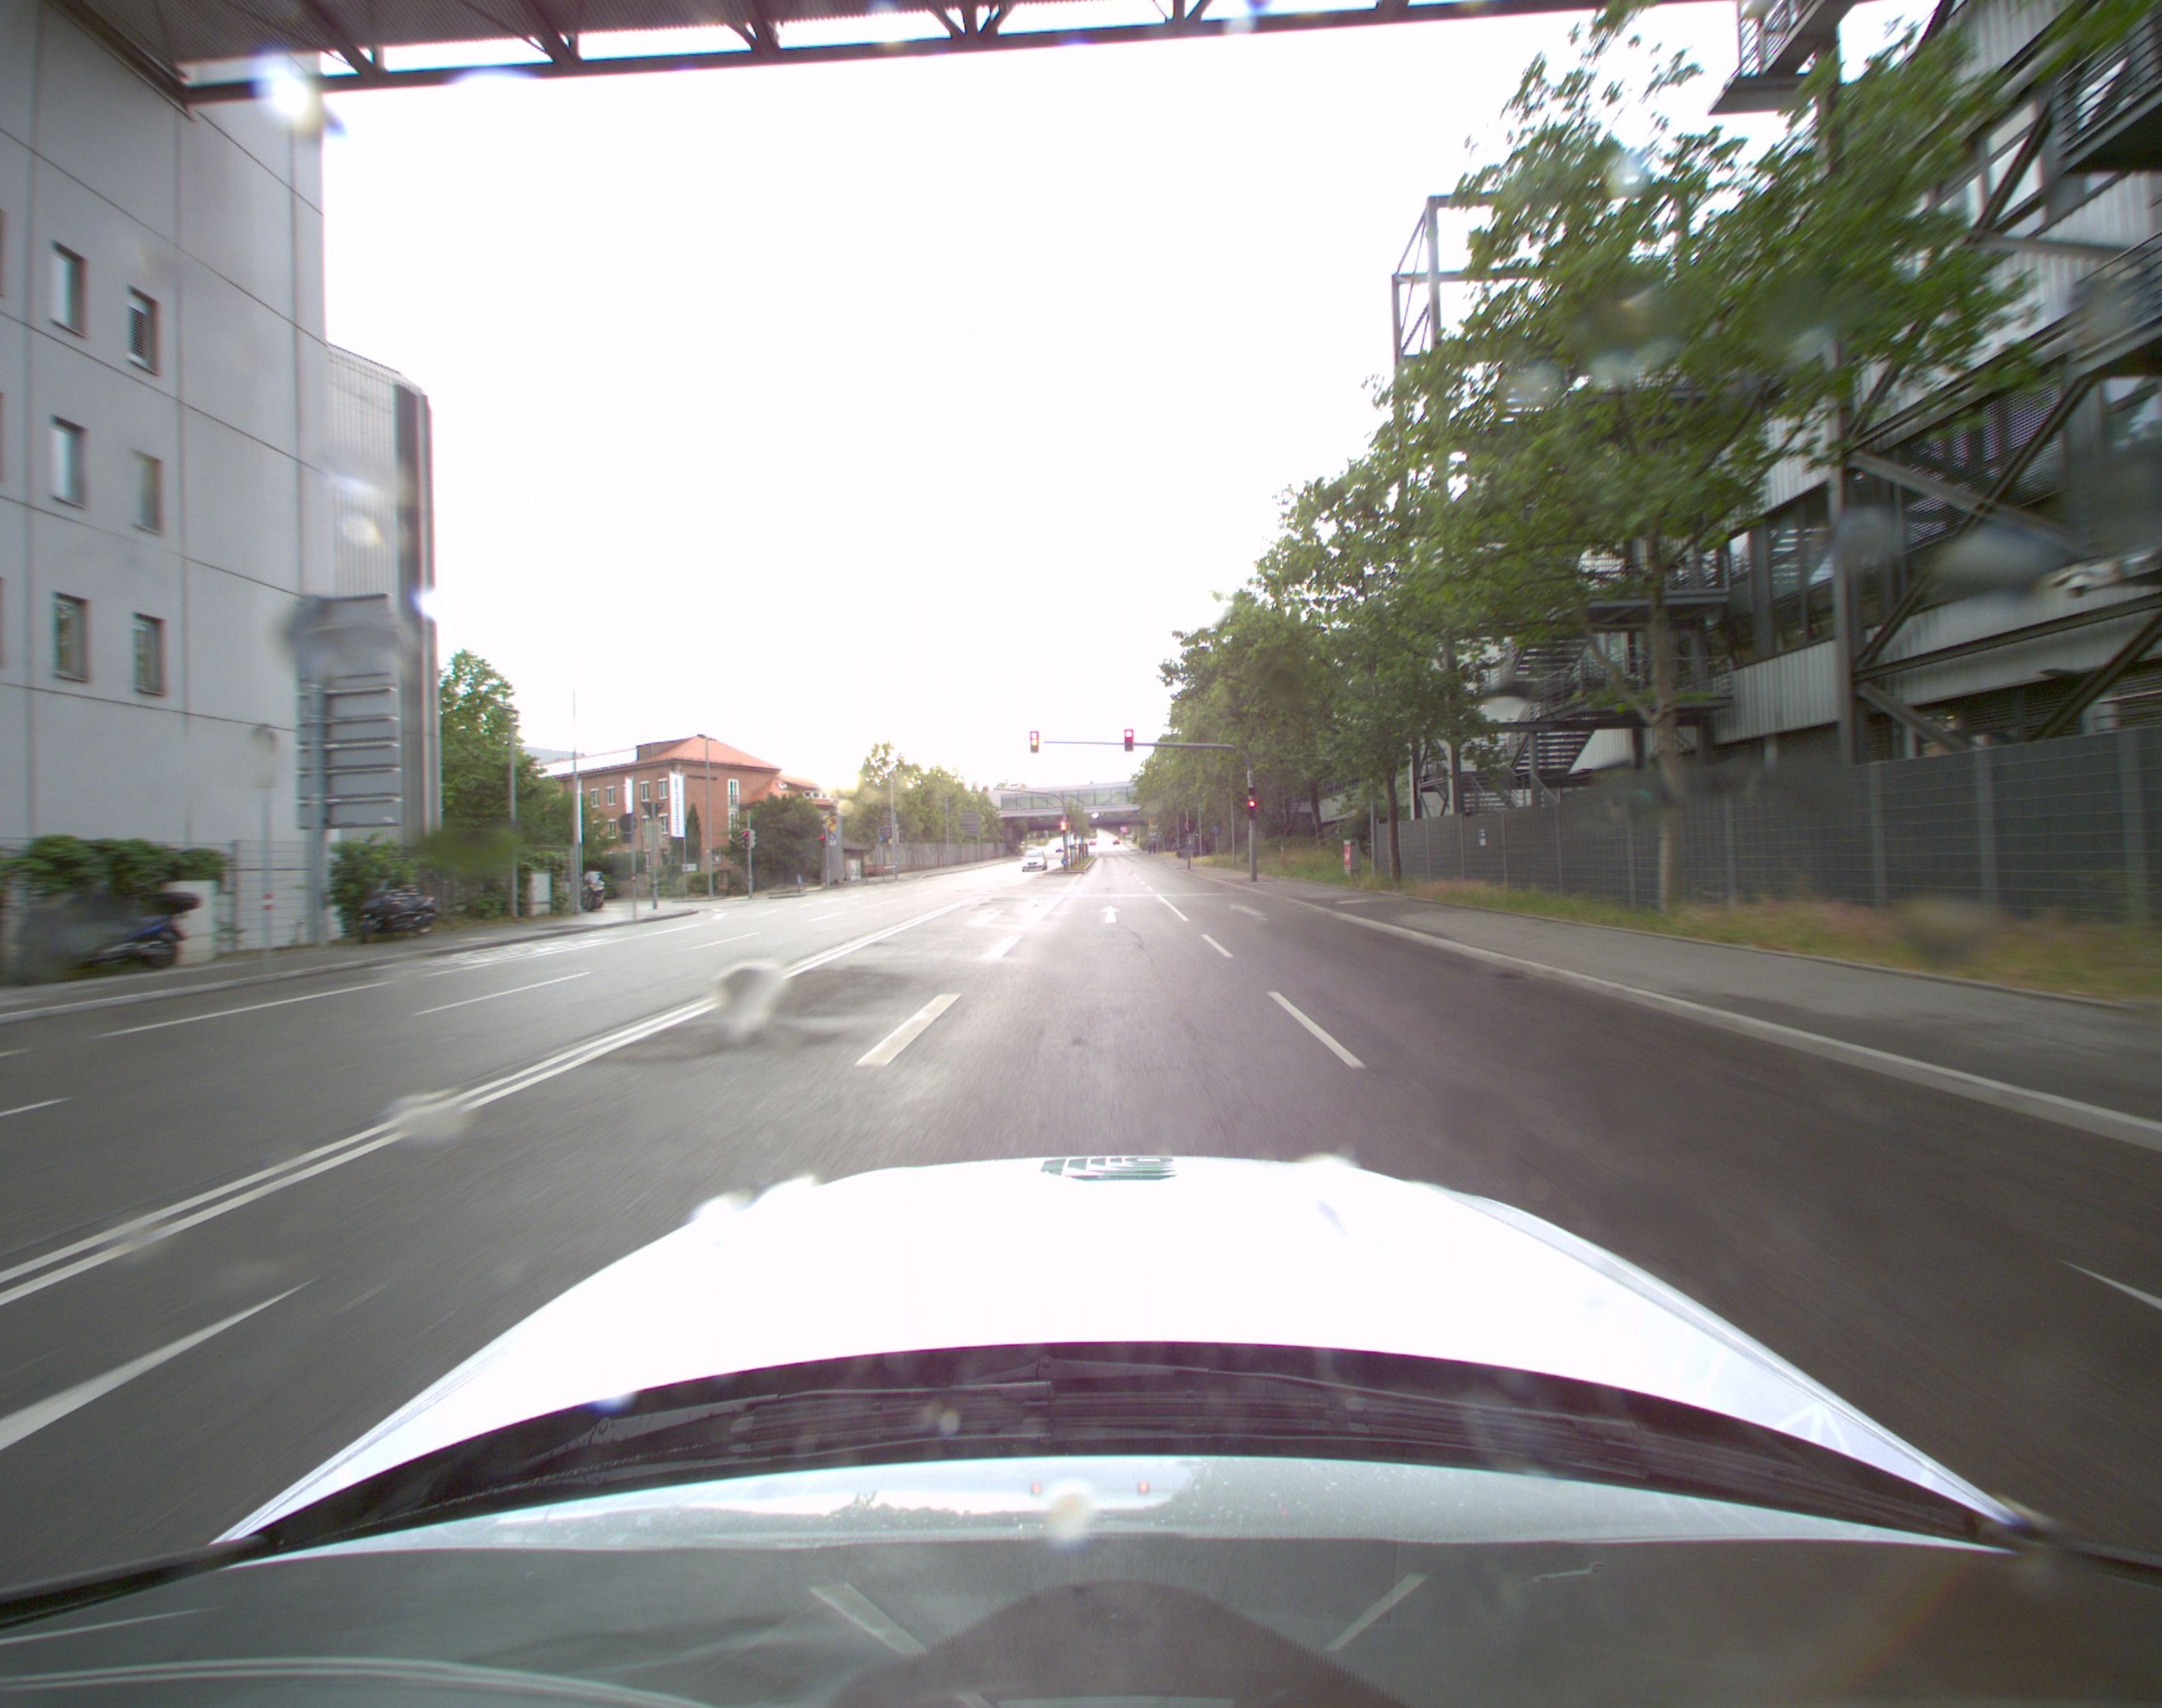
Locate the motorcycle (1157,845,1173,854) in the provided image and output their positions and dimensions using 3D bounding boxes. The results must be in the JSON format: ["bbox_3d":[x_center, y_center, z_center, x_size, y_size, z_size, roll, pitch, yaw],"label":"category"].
[{"bbox_3d":[12.564,-0.721,122.027,2.354,1.202,0.724,-3,0,9],"label":"motorcycle"}]

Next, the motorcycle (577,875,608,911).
[{"bbox_3d":[-18.288,1.431,30.507,0.774,1.218,2.487,-2,0,-27],"label":"motorcycle"}]

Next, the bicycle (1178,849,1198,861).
[{"bbox_3d":[11.137,0.106,84.665,1.982,1.242,0.541,0,-1,2],"label":"bicycle"}]

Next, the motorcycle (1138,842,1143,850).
[{"bbox_3d":[12.263,-1.721,168.672,0.787,1.533,2.377,-3,0,1],"label":"motorcycle"}]

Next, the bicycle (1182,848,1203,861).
[{"bbox_3d":[10.937,0.056,79.707,1.982,1.216,0.541,0,-1,2],"label":"bicycle"}]

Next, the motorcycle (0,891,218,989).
[{"bbox_3d":[-15.971,1.348,13.478,0.782,1.347,2.370,-2,0,1],"label":"motorcycle"}]

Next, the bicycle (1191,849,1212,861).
[{"bbox_3d":[11.554,0.102,78.224,1.982,1.094,0.541,0,-1,2],"label":"bicycle"}]

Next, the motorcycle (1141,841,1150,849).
[{"bbox_3d":[11.812,-1.658,149.372,0.792,1.311,2.364,-3,0,-16],"label":"motorcycle"}]

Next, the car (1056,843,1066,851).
[{"bbox_3d":[-4.391,-1.584,176.440,1.870,1.624,3.781,-2,0,2],"label":"car"}]

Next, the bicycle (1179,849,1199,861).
[{"bbox_3d":[11.089,0.095,83.801,1.982,1.242,0.541,0,-1,2],"label":"bicycle"}]

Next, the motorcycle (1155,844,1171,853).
[{"bbox_3d":[12.565,-0.822,125.370,2.354,1.202,0.724,-3,0,9],"label":"motorcycle"}]

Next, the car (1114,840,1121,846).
[{"bbox_3d":[10.257,-3.108,226.994,1.867,1.497,4.071,0,-1,3],"label":"car"}]

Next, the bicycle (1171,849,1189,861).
[{"bbox_3d":[10.873,0.135,89.718,1.982,1.328,0.576,0,-1,2],"label":"bicycle"}]

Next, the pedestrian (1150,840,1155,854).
[{"bbox_3d":[10.545,-1.024,120.227,0.619,2.013,0.606,-3,0,2],"label":"pedestrian"}]

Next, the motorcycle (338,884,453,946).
[{"bbox_3d":[-15.927,1.379,19.016,0.782,1.247,2.158,-2,0,1],"label":"motorcycle"}]

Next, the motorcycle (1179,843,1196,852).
[{"bbox_3d":[16.359,-1.044,125.056,2.354,1.202,0.724,-3,0,9],"label":"motorcycle"}]

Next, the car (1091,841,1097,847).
[{"bbox_3d":[3.780,-2.970,236.528,1.877,1.762,3.971,0,-1,3],"label":"car"}]

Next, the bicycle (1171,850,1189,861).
[{"bbox_3d":[11.452,0.181,94.182,1.952,1.328,0.576,0,-1,2],"label":"bicycle"}]

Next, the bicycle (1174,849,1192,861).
[{"bbox_3d":[11.553,0.158,92.228,1.982,1.328,0.576,0,-1,2],"label":"bicycle"}]

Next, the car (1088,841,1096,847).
[{"bbox_3d":[3.203,-2.826,231.046,1.985,1.762,4.002,0,-1,3],"label":"car"}]

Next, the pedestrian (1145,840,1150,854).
[{"bbox_3d":[9.892,-0.972,120.416,0.619,2.013,0.606,-3,0,2],"label":"pedestrian"}]

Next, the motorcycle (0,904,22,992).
[{"bbox_3d":[-16.096,1.385,10.972,0.782,1.250,2.158,-2,0,1],"label":"motorcycle"}]

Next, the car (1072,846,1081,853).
[{"bbox_3d":[-0.989,-1.157,197.636,1.870,1.624,3.781,-2,0,2],"label":"car"}]

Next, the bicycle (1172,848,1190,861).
[{"bbox_3d":[11.216,0.094,91.385,1.982,1.430,0.723,0,-1,2],"label":"bicycle"}]

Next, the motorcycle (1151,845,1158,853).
[{"bbox_3d":[12.960,-0.946,144.269,0.789,1.311,2.371,-3,0,-6],"label":"motorcycle"}]

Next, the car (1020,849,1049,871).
[{"bbox_3d":[-3.647,0.429,64.218,1.870,1.624,3.781,-2,0,2],"label":"car"}]
